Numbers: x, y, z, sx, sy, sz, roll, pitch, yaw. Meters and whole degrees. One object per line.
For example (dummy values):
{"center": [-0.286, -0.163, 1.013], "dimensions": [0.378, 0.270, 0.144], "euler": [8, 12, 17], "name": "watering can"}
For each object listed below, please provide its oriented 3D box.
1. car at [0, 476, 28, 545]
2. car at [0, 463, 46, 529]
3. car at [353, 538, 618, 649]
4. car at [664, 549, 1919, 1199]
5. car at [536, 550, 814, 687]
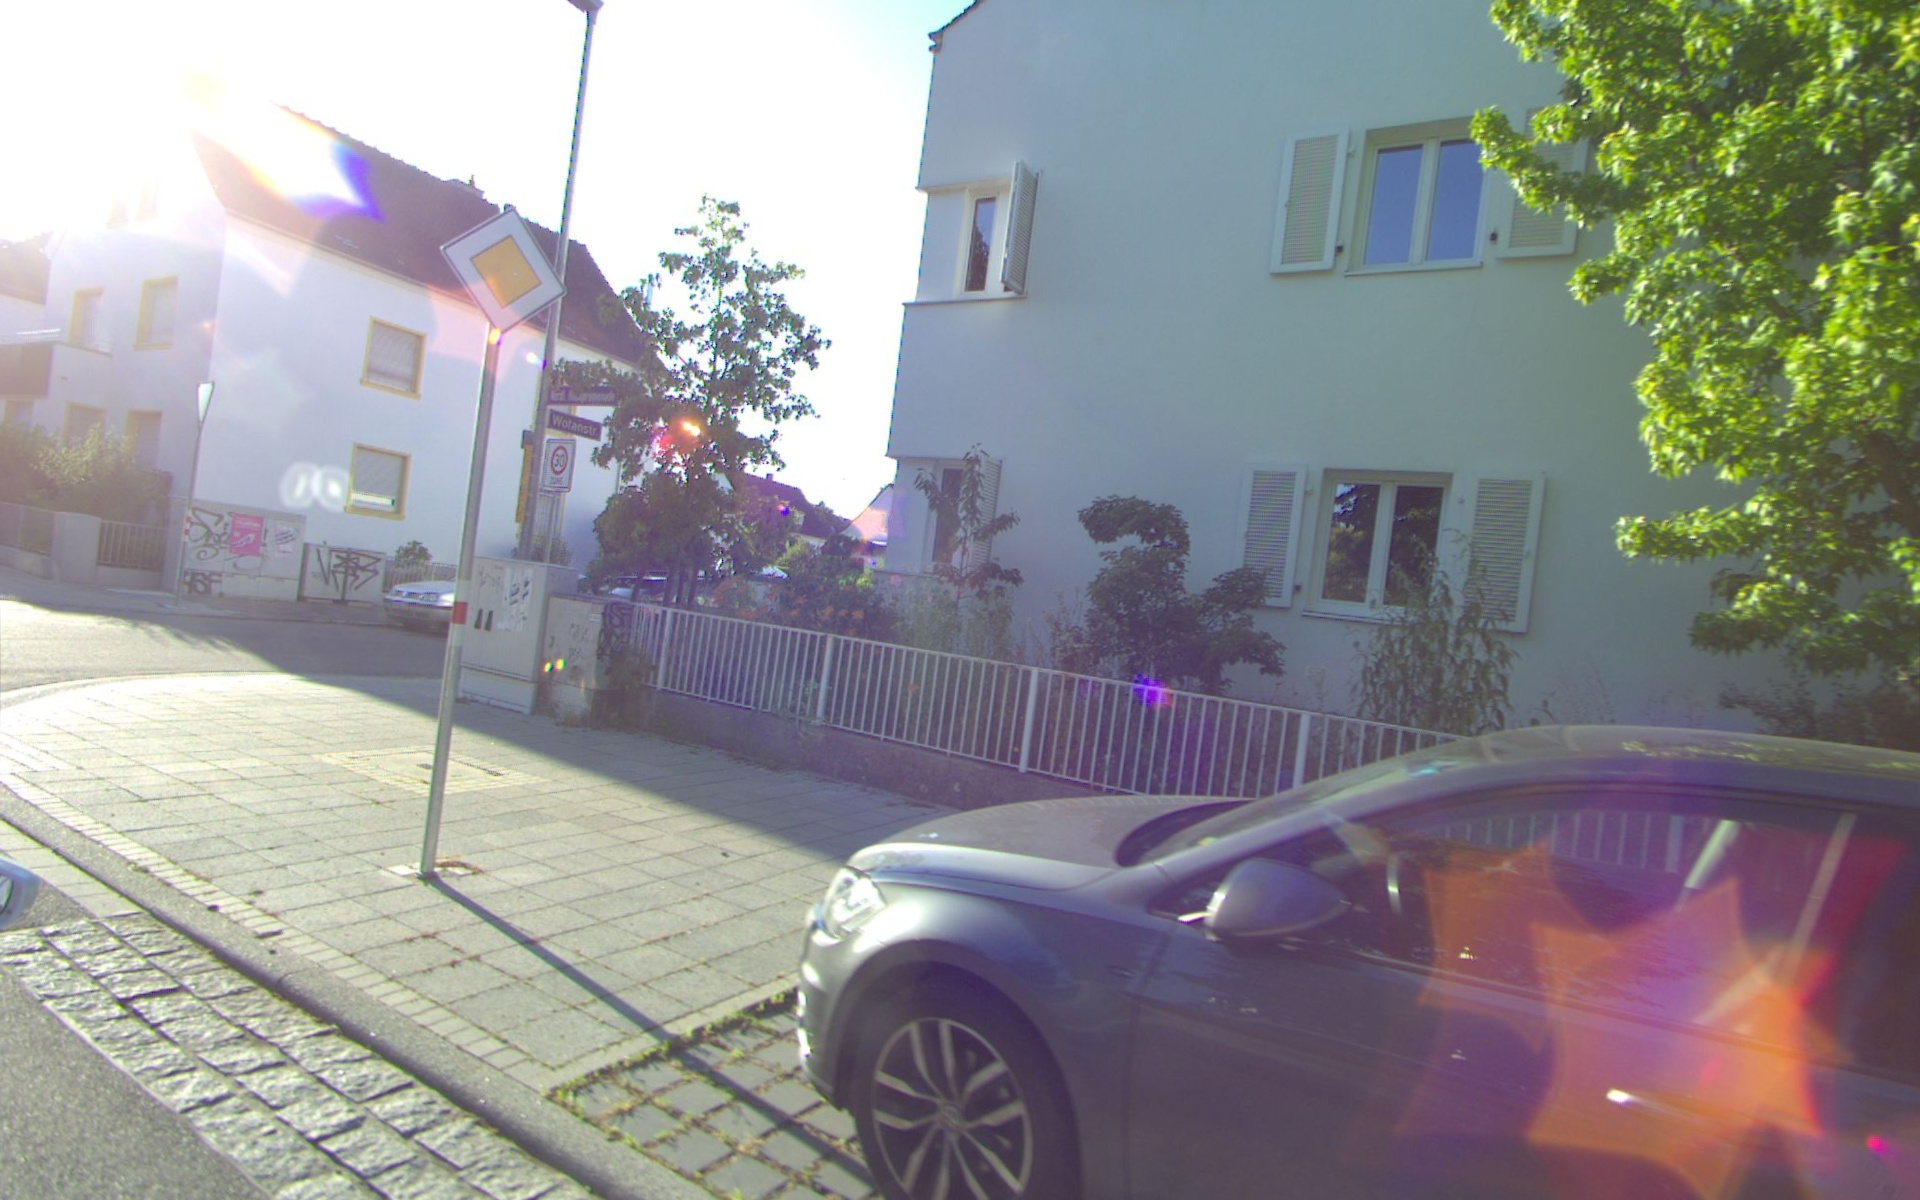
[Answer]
{"center": [-26.804, -2.627, 25.458], "dimensions": [1.821, 1.746, 4.228], "euler": [7, -2, 28], "name": "car"}
{"center": [-28.323, -3.145, 27.699], "dimensions": [1.821, 1.747, 4.225], "euler": [7, 0, 28], "name": "car"}
{"center": [-8.770, -0.051, 18.965], "dimensions": [1.862, 1.487, 4.081], "euler": [7, -2, 30], "name": "car"}
{"center": [1.419, 0.906, 2.451], "dimensions": [4.055, 1.502, 1.794], "euler": [9, 3, 33], "name": "car"}
{"center": [-4.472, 0.392, 16.436], "dimensions": [1.862, 1.708, 4.099], "euler": [7, -2, 30], "name": "car"}
